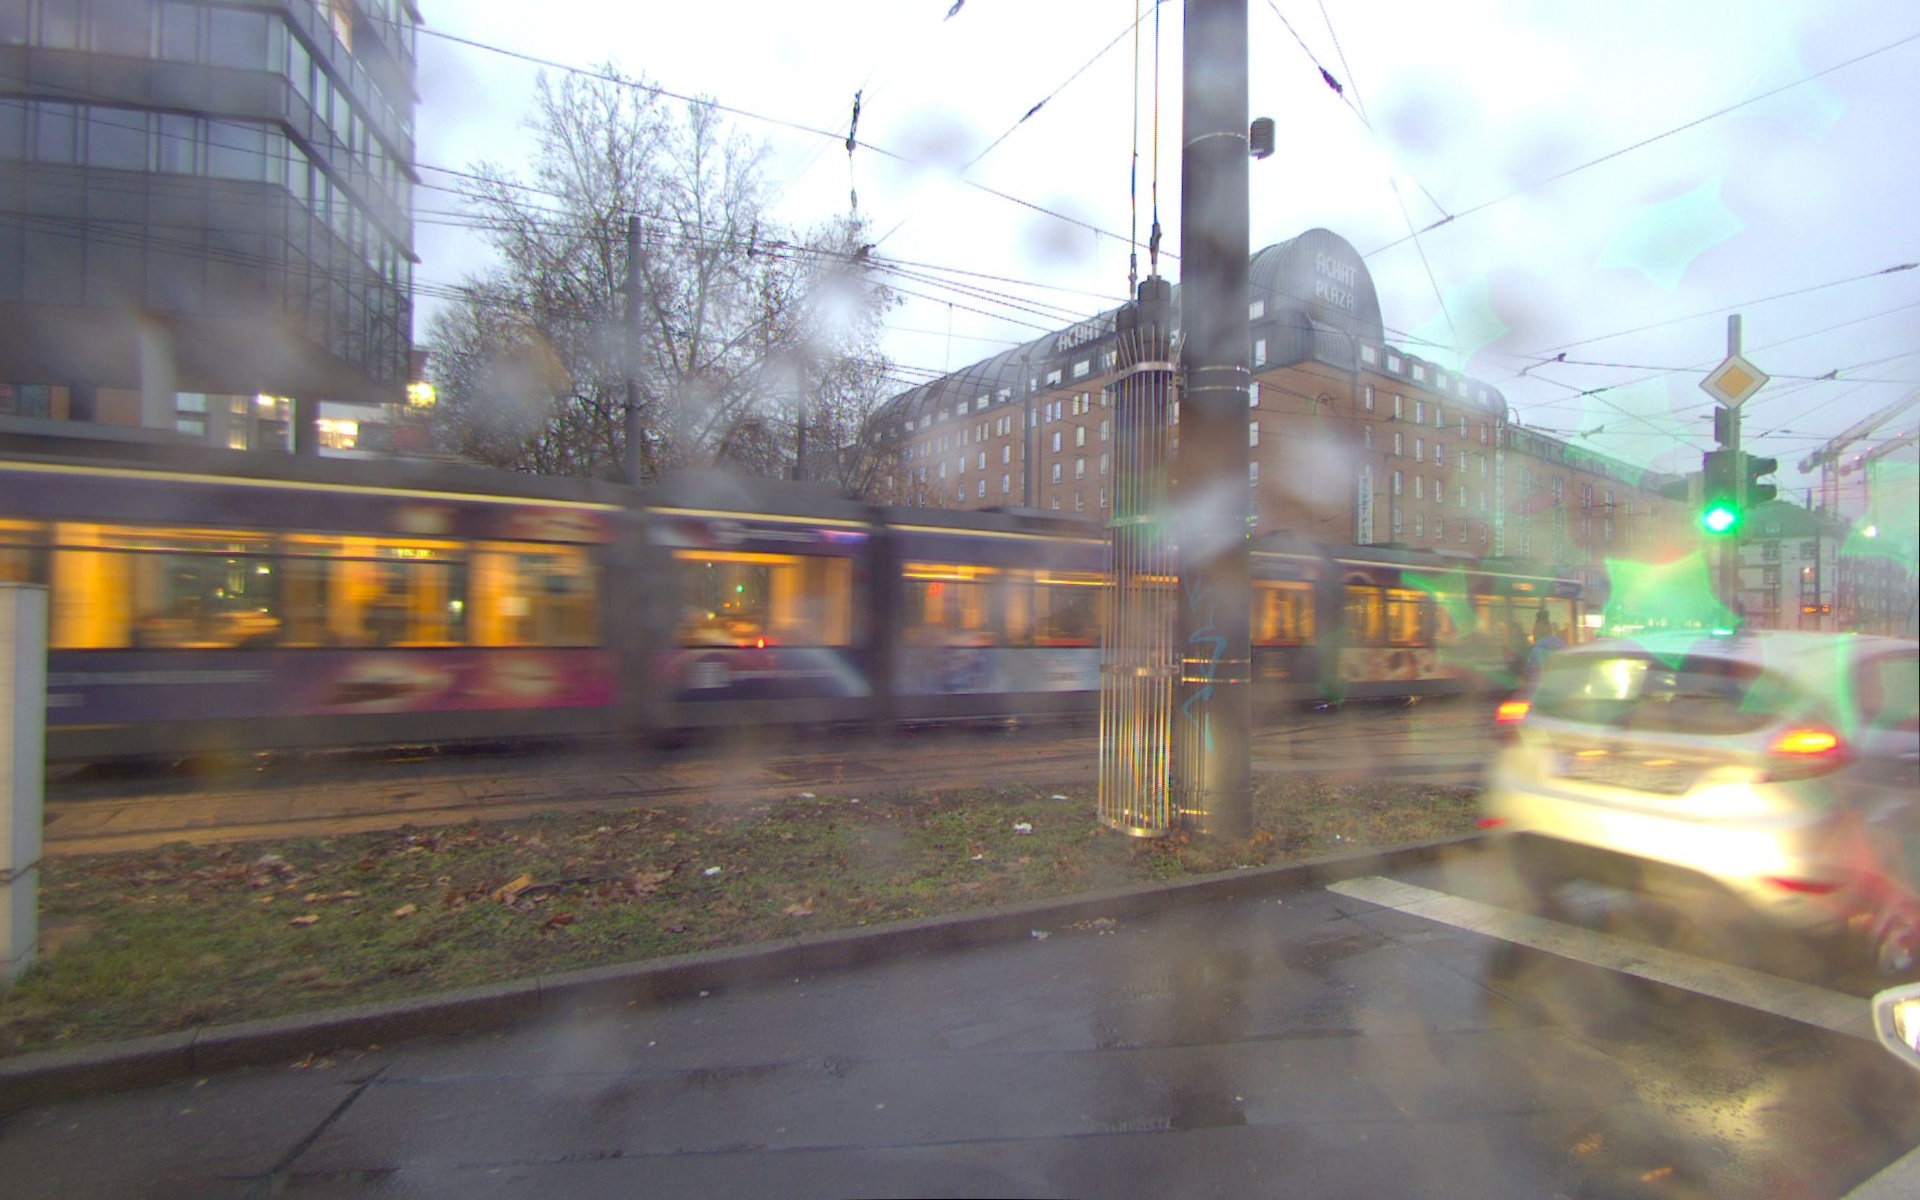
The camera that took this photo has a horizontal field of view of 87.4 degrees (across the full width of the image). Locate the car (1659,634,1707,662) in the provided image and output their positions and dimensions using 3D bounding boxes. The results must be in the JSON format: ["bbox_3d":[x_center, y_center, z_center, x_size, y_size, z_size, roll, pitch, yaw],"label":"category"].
[{"bbox_3d":[45.781,3.017,63.551,3.839,1.645,1.769,2,-1,-43],"label":"car"}]

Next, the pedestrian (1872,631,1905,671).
[{"bbox_3d":[48.260,2.650,52.215,0.820,2.040,0.980,1,-1,-15],"label":"pedestrian"}]

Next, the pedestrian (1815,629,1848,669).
[{"bbox_3d":[45.276,2.542,52.184,0.820,2.040,0.980,1,-1,-15],"label":"pedestrian"}]

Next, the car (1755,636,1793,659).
[{"bbox_3d":[62.355,3.634,76.890,3.839,1.645,1.769,2,-1,-43],"label":"car"}]

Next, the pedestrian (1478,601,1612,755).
[{"bbox_3d":[6.412,0.848,11.042,1.018,1.621,0.715,1,-3,-8],"label":"pedestrian"}]

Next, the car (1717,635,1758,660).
[{"bbox_3d":[55.056,3.363,71.112,3.839,1.645,1.769,2,-1,-43],"label":"car"}]

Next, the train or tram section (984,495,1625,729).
[{"bbox_3d":[9.028,0.455,22.372,19.019,3.662,2.846,2,-2,-35],"label":"train or tram section"}]

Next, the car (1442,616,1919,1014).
[{"bbox_3d":[4.621,0.893,5.453,3.953,1.466,1.698,3,-3,-30],"label":"car"}]

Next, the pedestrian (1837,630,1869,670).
[{"bbox_3d":[46.511,2.588,52.327,0.820,2.040,0.980,1,-1,-15],"label":"pedestrian"}]

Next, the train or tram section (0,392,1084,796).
[{"bbox_3d":[-7.205,0.039,11.737,19.846,3.662,2.849,2,-2,-32],"label":"train or tram section"}]

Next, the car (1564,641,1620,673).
[{"bbox_3d":[33.744,2.999,53.725,2.012,1.582,4.829,0,-2,26],"label":"car"}]
